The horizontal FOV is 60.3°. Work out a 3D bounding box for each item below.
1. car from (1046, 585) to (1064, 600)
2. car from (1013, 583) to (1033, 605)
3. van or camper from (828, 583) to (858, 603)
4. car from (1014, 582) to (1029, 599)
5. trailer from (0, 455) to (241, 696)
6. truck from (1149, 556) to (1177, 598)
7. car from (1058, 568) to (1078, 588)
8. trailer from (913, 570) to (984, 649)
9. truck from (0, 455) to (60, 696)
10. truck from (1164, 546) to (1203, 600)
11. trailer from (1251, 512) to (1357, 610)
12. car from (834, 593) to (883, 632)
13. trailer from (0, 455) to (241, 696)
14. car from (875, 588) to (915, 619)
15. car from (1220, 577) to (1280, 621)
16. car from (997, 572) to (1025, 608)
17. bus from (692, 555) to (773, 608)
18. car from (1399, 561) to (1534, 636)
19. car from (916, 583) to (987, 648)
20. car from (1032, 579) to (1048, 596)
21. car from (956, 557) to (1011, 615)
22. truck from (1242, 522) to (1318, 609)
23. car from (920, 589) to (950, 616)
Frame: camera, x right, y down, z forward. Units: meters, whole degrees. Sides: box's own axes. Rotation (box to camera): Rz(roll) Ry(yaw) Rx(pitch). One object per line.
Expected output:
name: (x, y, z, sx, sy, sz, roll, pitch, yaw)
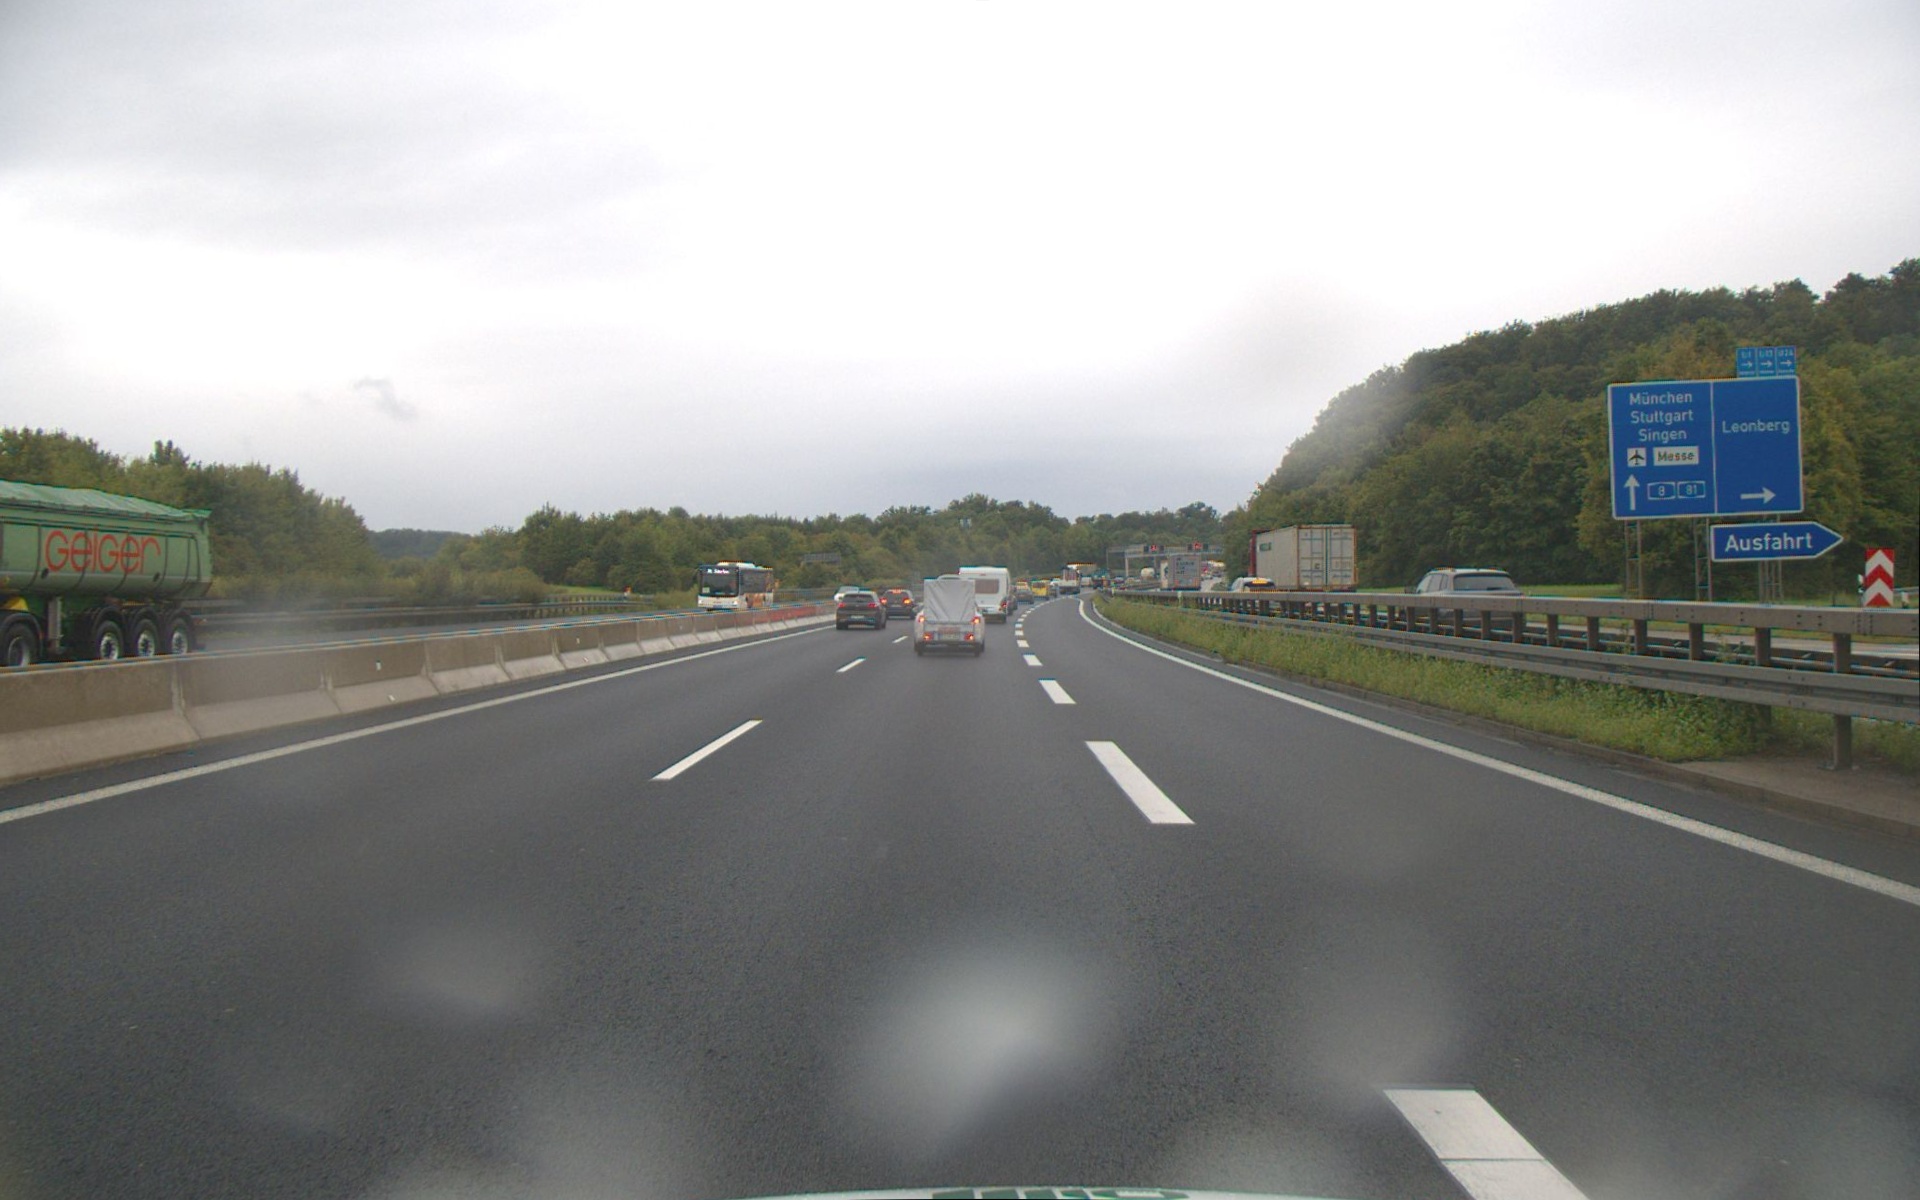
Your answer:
car: (11.188, -0.827, 194.723, 1.994, 1.712, 4.003, 0, 0, 6)
car: (5.510, -0.508, 145.468, 1.641, 1.844, 4.000, 0, 0, 1)
van or camper: (-8.937, -0.510, 126.470, 1.711, 1.473, 4.588, -1, 0, 4)
car: (7.965, -1.227, 214.283, 1.952, 2.049, 4.001, 0, 0, 2)
trailer: (-16.495, -0.374, 30.032, 2.843, 3.814, 8.929, 0, 0, 1)
truck: (24.216, -2.653, 197.629, 3.147, 4.748, 13.042, 0, 0, 7)
car: (14.889, -3.042, 227.928, 2.462, 2.620, 5.315, 0, 0, 5)
trailer: (-0.249, 0.222, 40.628, 1.641, 1.844, 4.000, 0, 0, 1)
truck: (-16.594, -0.377, 24.812, 2.827, 3.814, 5.945, 0, 0, 1)
truck: (20.494, -2.404, 152.501, 3.147, 4.748, 13.041, 0, 0, 6)
trailer: (15.049, -1.582, 73.349, 2.550, 3.962, 12.494, 0, 0, 2)
car: (-3.933, 0.466, 64.523, 1.641, 1.481, 4.000, 0, 0, 0)
trailer: (-16.495, -0.374, 30.032, 2.843, 3.814, 8.929, 0, 0, 1)
car: (-3.273, 0.178, 83.791, 1.728, 1.481, 4.001, 0, 0, 2)
car: (11.290, -0.038, 64.646, 1.733, 1.638, 4.645, 0, 0, 2)
car: (3.045, -0.576, 98.635, 1.641, 2.103, 4.001, 0, 0, 2)
bus: (-14.113, -1.083, 103.679, 2.642, 3.010, 11.903, -3, 0, 3)
car: (10.539, -0.028, 34.707, 1.632, 1.407, 4.127, -2, 0, 2)
car: (-0.179, 0.399, 44.330, 1.781, 1.644, 4.778, 0, 0, 1)
car: (8.455, -1.308, 174.716, 1.641, 1.844, 4.001, 0, 0, 3)
car: (1.180, -0.640, 79.231, 2.455, 2.630, 5.701, 0, 0, 2)
truck: (15.226, -1.582, 79.096, 2.562, 3.952, 6.393, 0, 0, 2)
car: (-1.574, 0.184, 105.415, 1.739, 1.669, 4.044, 0, 0, 2)
